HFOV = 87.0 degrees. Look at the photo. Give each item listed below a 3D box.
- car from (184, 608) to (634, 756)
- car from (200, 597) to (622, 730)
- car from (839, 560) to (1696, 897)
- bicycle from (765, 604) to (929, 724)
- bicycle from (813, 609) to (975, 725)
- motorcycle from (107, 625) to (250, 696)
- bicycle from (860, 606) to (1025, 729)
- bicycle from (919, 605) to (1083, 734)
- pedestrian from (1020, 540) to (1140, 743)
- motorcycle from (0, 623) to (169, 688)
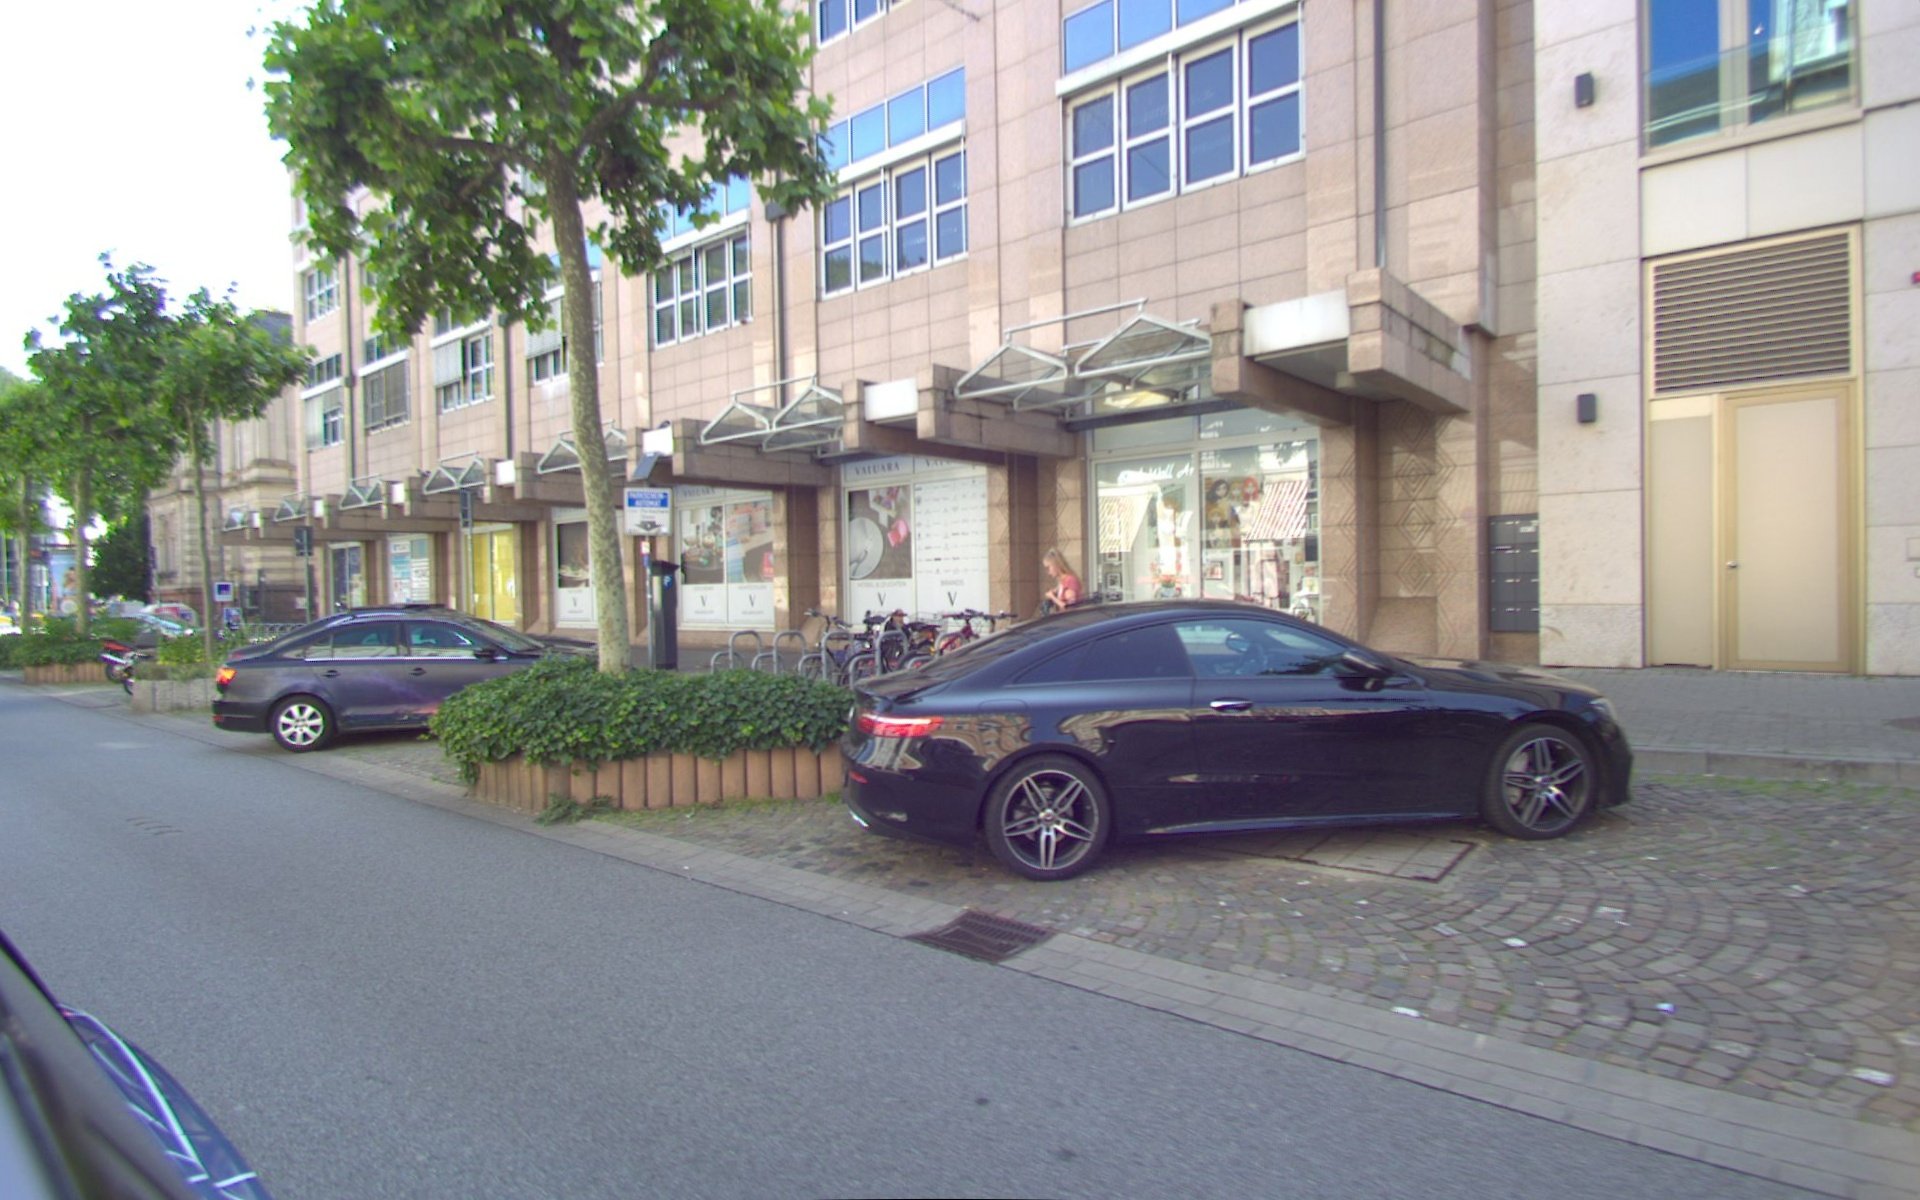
[{"bbox_3d":[-6.283,0.896,12.070,4.332,1.457,1.890,-1,-1,-10],"label":"car"},{"bbox_3d":[-7.680,0.843,14.675,5.051,1.645,1.847,-1,0,-10],"label":"car"},{"bbox_3d":[1.604,0.639,6.150,4.551,1.457,1.735,-3,0,-5],"label":"car"},{"bbox_3d":[-1.215,0.666,11.363,0.476,1.110,1.976,-1,3,41],"label":"bicycle"},{"bbox_3d":[-0.665,0.671,10.911,0.476,1.110,1.975,-1,0,41],"label":"bicycle"},{"bbox_3d":[-15.634,1.187,20.309,2.028,1.299,0.981,-1,0,-11],"label":"motorcycle"},{"bbox_3d":[-0.128,0.637,10.321,0.476,1.110,1.975,-1,0,40],"label":"bicycle"},{"bbox_3d":[0.446,0.624,9.904,0.467,1.110,1.975,-1,0,40],"label":"bicycle"},{"bbox_3d":[1.190,0.389,10.035,0.844,1.893,0.830,-1,0,41],"label":"pedestrian"},{"bbox_3d":[-19.768,1.236,22.804,3.057,1.361,0.979,-1,0,-2],"label":"motorcycle"}]
